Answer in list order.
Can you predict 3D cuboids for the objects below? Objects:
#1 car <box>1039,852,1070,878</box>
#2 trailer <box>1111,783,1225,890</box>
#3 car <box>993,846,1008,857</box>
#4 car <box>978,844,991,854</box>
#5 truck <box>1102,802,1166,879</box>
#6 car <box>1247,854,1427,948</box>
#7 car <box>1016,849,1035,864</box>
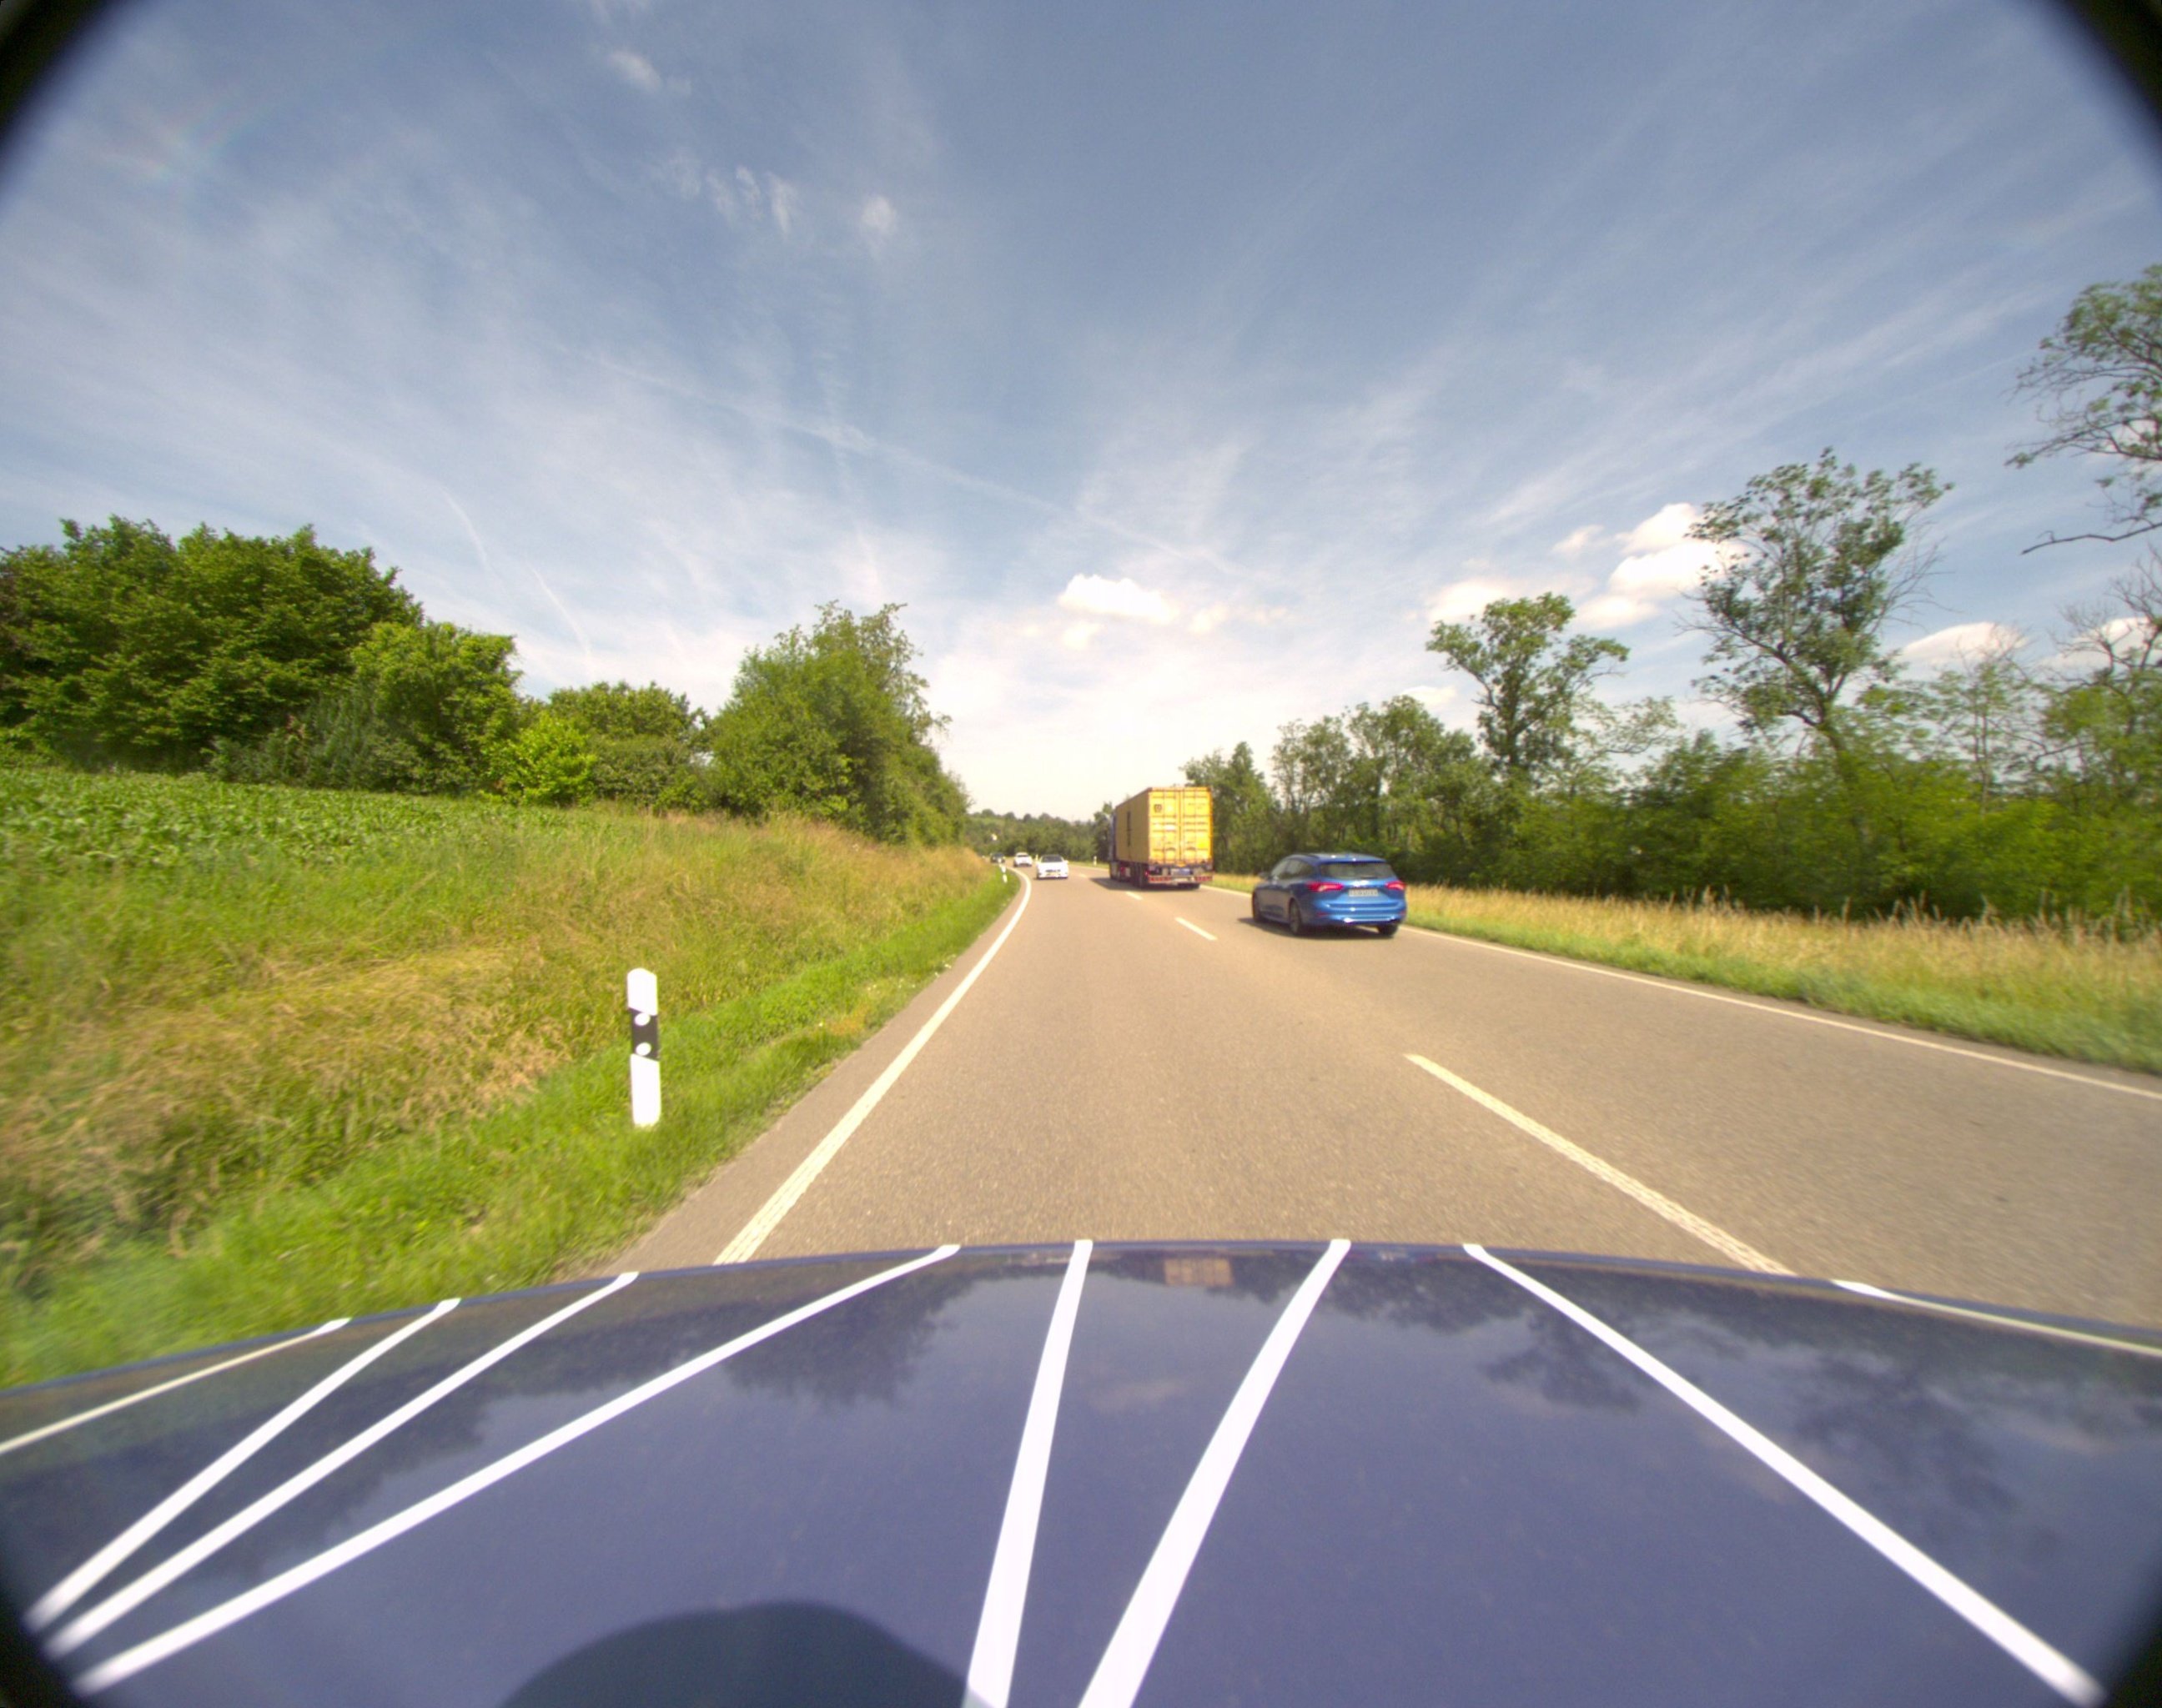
[{"bbox_3d":[-1.666,0.667,46.829,1.773,1.437,3.998,-2,1,-3],"label":"car"},{"bbox_3d":[3.560,-0.690,35.216,3.005,4.020,12.911,-1,0,-3],"label":"trailer"},{"bbox_3d":[-11.771,-0.382,110.626,1.826,1.510,3.995,4,0,-11],"label":"car"},{"bbox_3d":[-16.864,-0.928,132.431,1.668,1.641,3.993,3,0,-16],"label":"car"},{"bbox_3d":[2.928,-0.735,43.689,2.815,4.043,5.982,-1,1,-4],"label":"truck"},{"bbox_3d":[4.591,0.755,14.387,1.868,1.477,4.358,-1,0,-1],"label":"car"},{"bbox_3d":[-6.193,0.254,83.996,1.867,1.480,3.997,-2,1,-6],"label":"car"}]
